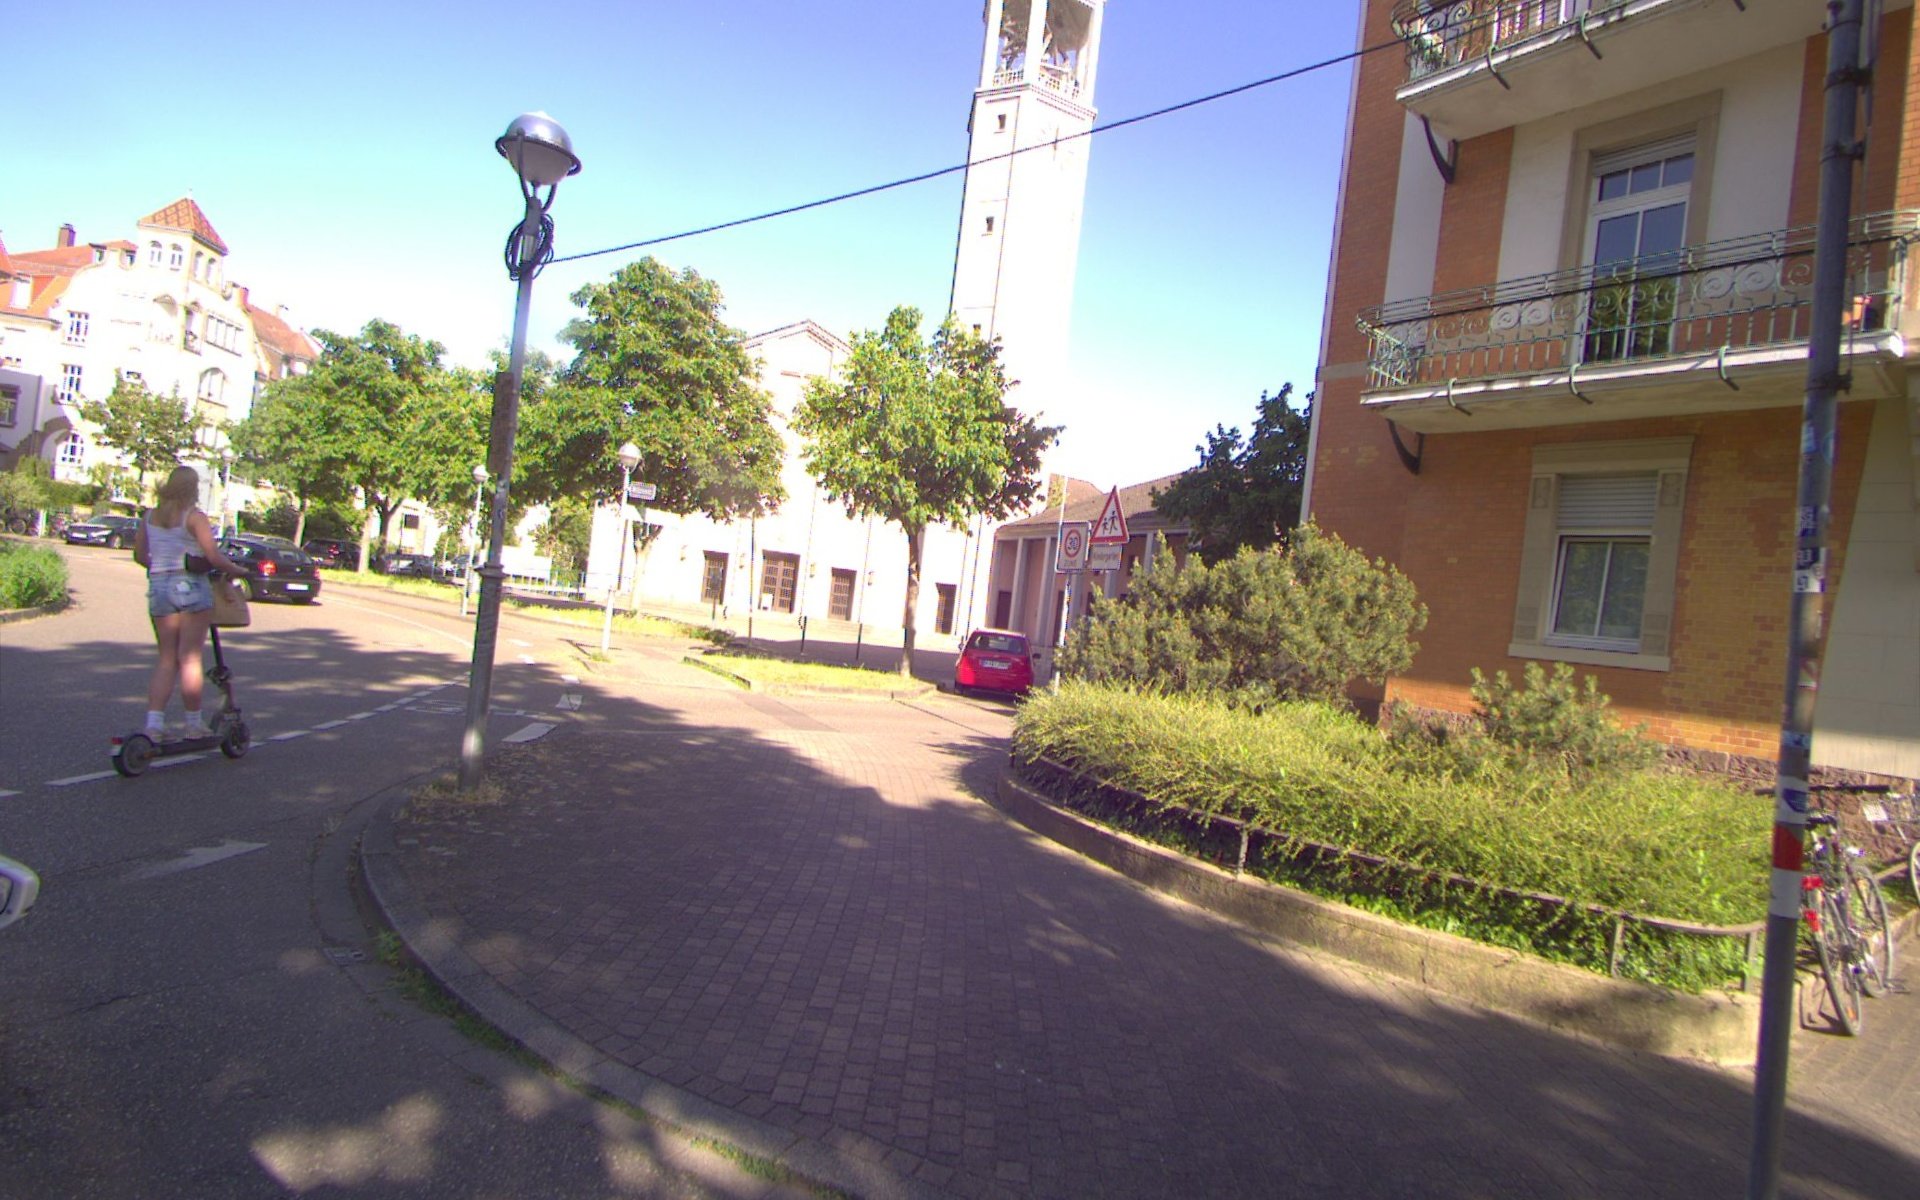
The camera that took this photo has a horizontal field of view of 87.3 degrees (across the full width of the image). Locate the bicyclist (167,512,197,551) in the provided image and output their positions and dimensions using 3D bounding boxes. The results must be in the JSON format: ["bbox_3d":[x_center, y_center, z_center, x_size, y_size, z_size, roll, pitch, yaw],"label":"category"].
[{"bbox_3d":[-35.298,-3.101,45.650,0.585,1.600,0.804,6,0,-4],"label":"bicyclist"}]

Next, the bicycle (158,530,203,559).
[{"bbox_3d":[-35.362,-2.508,45.660,0.585,1.121,1.863,6,-1,-4],"label":"bicycle"}]

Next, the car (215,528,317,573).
[{"bbox_3d":[-29.713,-2.068,43.260,1.780,1.432,4.333,8,-2,-9],"label":"car"}]

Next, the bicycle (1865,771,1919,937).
[{"bbox_3d":[7.255,1.851,7.421,1.660,1.085,0.495,7,0,-38],"label":"bicycle"}]

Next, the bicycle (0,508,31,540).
[{"bbox_3d":[-40.401,-3.265,42.444,1.697,1.128,0.546,9,0,-5],"label":"bicycle"}]

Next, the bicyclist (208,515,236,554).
[{"bbox_3d":[-35.654,-3.166,48.604,0.634,1.735,0.723,6,-1,-5],"label":"bicyclist"}]

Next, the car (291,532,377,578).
[{"bbox_3d":[-29.903,-2.096,48.229,1.780,1.748,4.333,8,-1,-9],"label":"car"}]

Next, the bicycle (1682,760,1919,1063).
[{"bbox_3d":[4.392,1.451,5.123,1.930,1.134,0.680,7,0,-42],"label":"bicycle"}]

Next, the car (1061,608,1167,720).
[{"bbox_3d":[3.418,1.406,23.158,1.956,2.069,4.709,7,-1,6],"label":"car"}]

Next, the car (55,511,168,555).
[{"bbox_3d":[-37.392,-2.909,44.468,1.779,1.502,4.332,5,-1,-10],"label":"car"}]

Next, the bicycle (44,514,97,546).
[{"bbox_3d":[-40.792,-3.210,46.165,1.698,1.120,0.515,9,0,-8],"label":"bicycle"}]

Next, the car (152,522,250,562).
[{"bbox_3d":[-37.773,-2.849,50.225,1.777,1.581,4.396,5,-1,-5],"label":"car"}]

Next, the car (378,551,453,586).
[{"bbox_3d":[-30.347,-1.711,56.246,1.777,1.491,4.339,8,-2,-2],"label":"car"}]

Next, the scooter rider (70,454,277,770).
[{"bbox_3d":[-5.000,0.081,6.435,0.614,1.854,0.632,7,0,0],"label":"scooter rider"}]

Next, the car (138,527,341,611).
[{"bbox_3d":[-17.092,-0.724,23.892,3.925,1.436,1.871,7,0,18],"label":"car"}]

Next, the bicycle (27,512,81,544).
[{"bbox_3d":[-40.660,-3.212,45.177,1.698,1.120,0.500,9,0,-8],"label":"bicycle"}]

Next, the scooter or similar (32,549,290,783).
[{"bbox_3d":[-5.040,0.399,6.434,0.621,1.298,1.106,7,-1,0],"label":"scooter or similar"}]

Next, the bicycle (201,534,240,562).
[{"bbox_3d":[-35.721,-2.496,48.614,0.634,1.121,1.716,6,-1,-5],"label":"bicycle"}]

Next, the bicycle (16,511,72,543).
[{"bbox_3d":[-40.601,-3.219,44.587,1.699,1.120,0.500,9,0,-12],"label":"bicycle"}]

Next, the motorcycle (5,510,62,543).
[{"bbox_3d":[-40.521,-3.217,44.027,1.699,1.120,0.500,9,0,-12],"label":"motorcycle"}]

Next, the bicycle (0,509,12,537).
[{"bbox_3d":[-40.353,-3.302,41.506,1.697,1.128,0.546,9,0,-5],"label":"bicycle"}]

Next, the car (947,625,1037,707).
[{"bbox_3d":[0.735,1.372,21.924,1.638,1.452,3.698,7,-1,3],"label":"car"}]

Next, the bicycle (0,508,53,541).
[{"bbox_3d":[-40.427,-3.243,43.358,1.806,1.120,0.498,9,-1,-21],"label":"bicycle"}]

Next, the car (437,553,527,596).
[{"bbox_3d":[-30.524,-1.609,64.370,4.700,2.024,1.807,8,-1,-10],"label":"car"}]
